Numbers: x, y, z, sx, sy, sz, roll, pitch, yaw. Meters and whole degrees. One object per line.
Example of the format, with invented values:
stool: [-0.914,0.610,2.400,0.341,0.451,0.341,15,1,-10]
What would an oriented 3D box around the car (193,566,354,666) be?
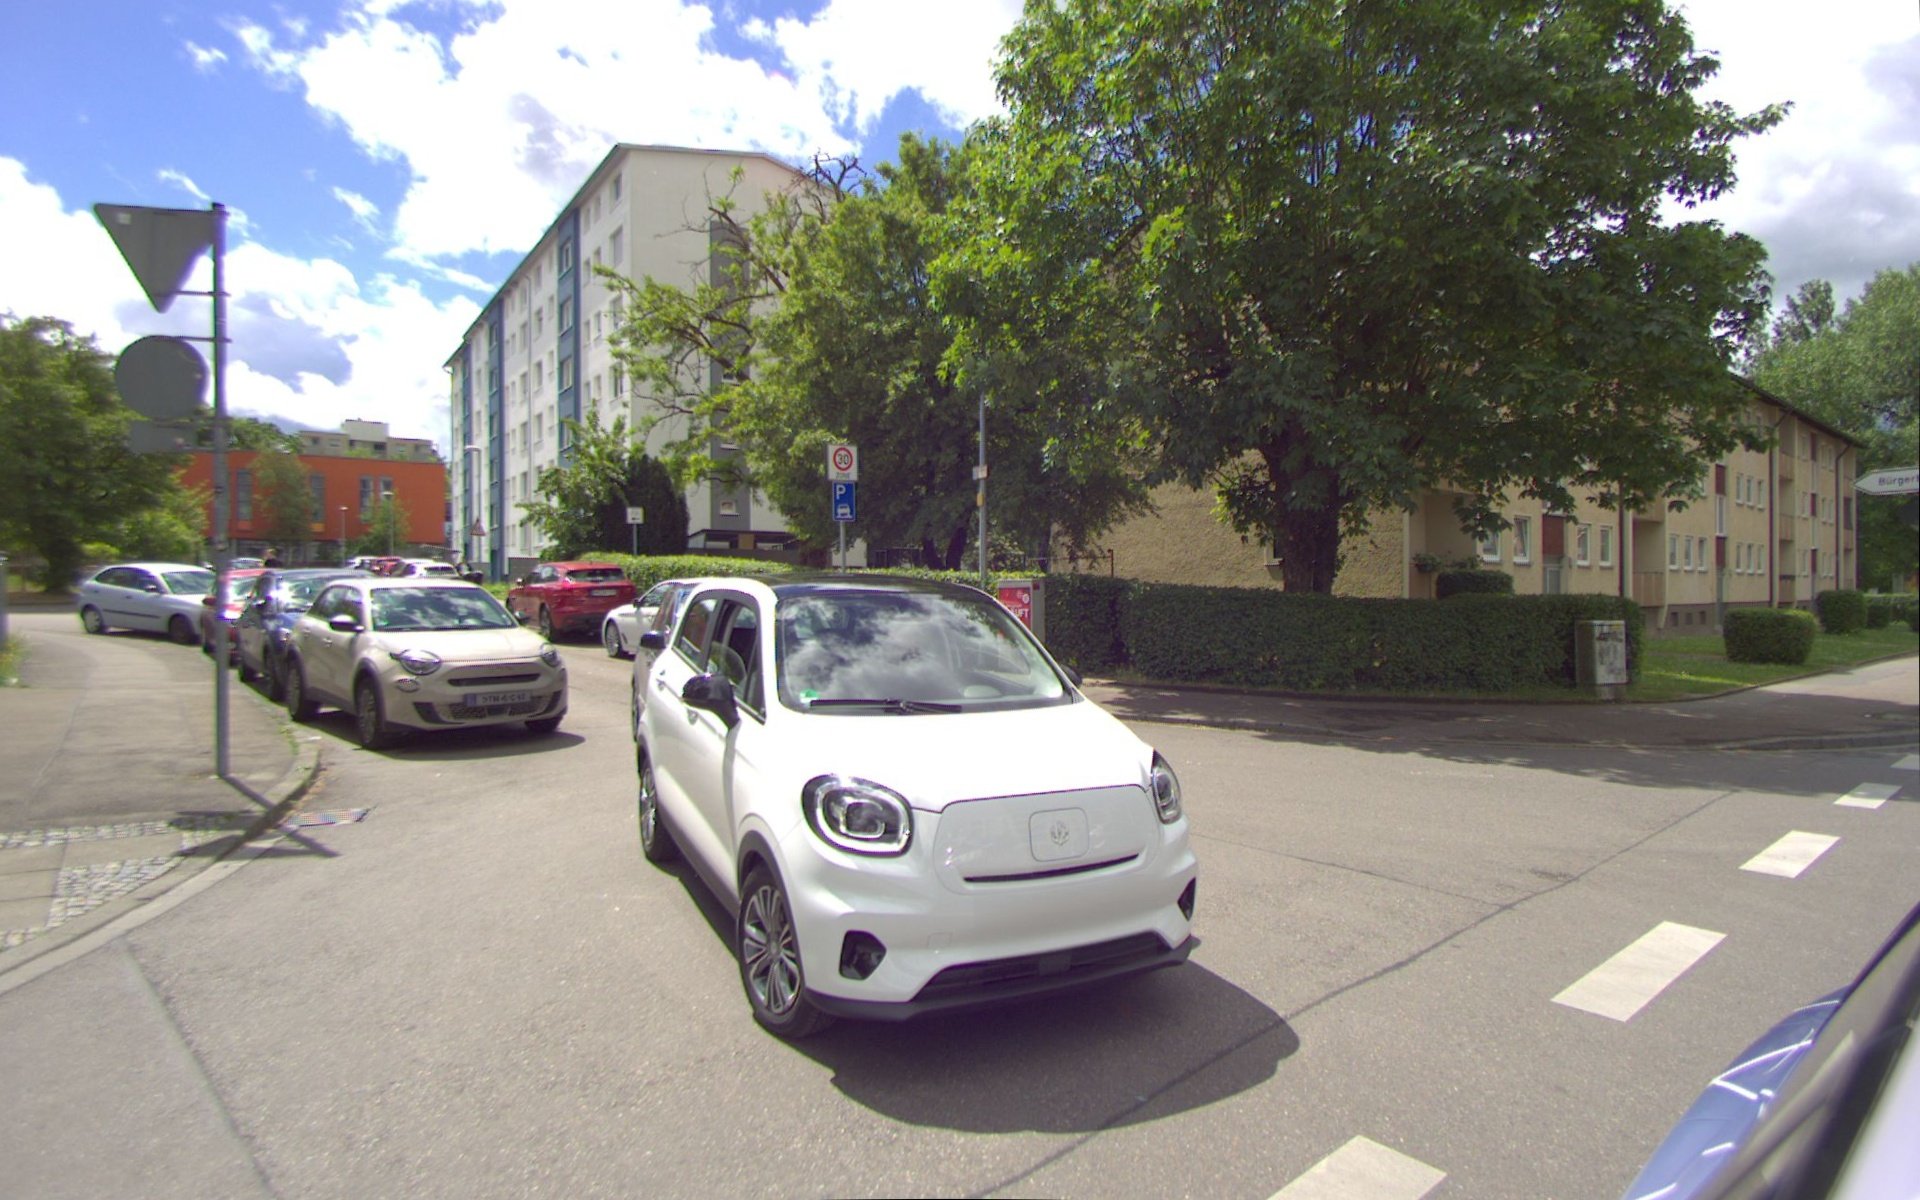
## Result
car: [-11.904,0.167,17.430,1.765,1.449,4.314,-2,3,-41]

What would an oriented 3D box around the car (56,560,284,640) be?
car: [-15.825,-0.060,20.318,3.725,1.449,1.787,1,3,16]

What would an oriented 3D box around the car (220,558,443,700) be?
car: [-8.698,0.249,13.870,1.881,1.590,3.915,-3,4,-42]

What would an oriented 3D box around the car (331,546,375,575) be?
car: [-36.761,-2.386,61.210,1.818,1.708,4.536,0,2,-37]

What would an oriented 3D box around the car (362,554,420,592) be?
car: [-26.906,-1.291,47.772,1.818,1.708,4.536,0,2,-37]

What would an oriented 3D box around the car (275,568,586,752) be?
car: [-5.636,0.463,10.551,3.927,1.538,1.773,2,1,45]

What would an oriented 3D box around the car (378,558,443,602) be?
car: [-22.796,-0.858,41.897,1.816,1.708,5.469,0,2,-34]

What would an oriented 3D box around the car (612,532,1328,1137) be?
car: [-0.381,0.558,4.691,1.804,1.591,3.654,0,2,-28]

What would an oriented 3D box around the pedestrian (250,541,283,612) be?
pedestrian: [-19.243,-0.641,28.087,0.667,1.940,0.574,0,-1,-26]

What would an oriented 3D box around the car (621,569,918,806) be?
car: [-1.863,0.539,8.856,1.803,1.591,3.656,0,2,-23]

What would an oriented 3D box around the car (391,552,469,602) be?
car: [-19.418,-0.877,36.986,1.818,1.708,4.536,0,2,-37]

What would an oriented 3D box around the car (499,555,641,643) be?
car: [-8.721,-0.101,22.423,1.793,1.733,4.245,0,2,-38]

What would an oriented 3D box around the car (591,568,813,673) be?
car: [-4.540,0.246,17.334,1.820,1.523,4.530,0,2,-41]
